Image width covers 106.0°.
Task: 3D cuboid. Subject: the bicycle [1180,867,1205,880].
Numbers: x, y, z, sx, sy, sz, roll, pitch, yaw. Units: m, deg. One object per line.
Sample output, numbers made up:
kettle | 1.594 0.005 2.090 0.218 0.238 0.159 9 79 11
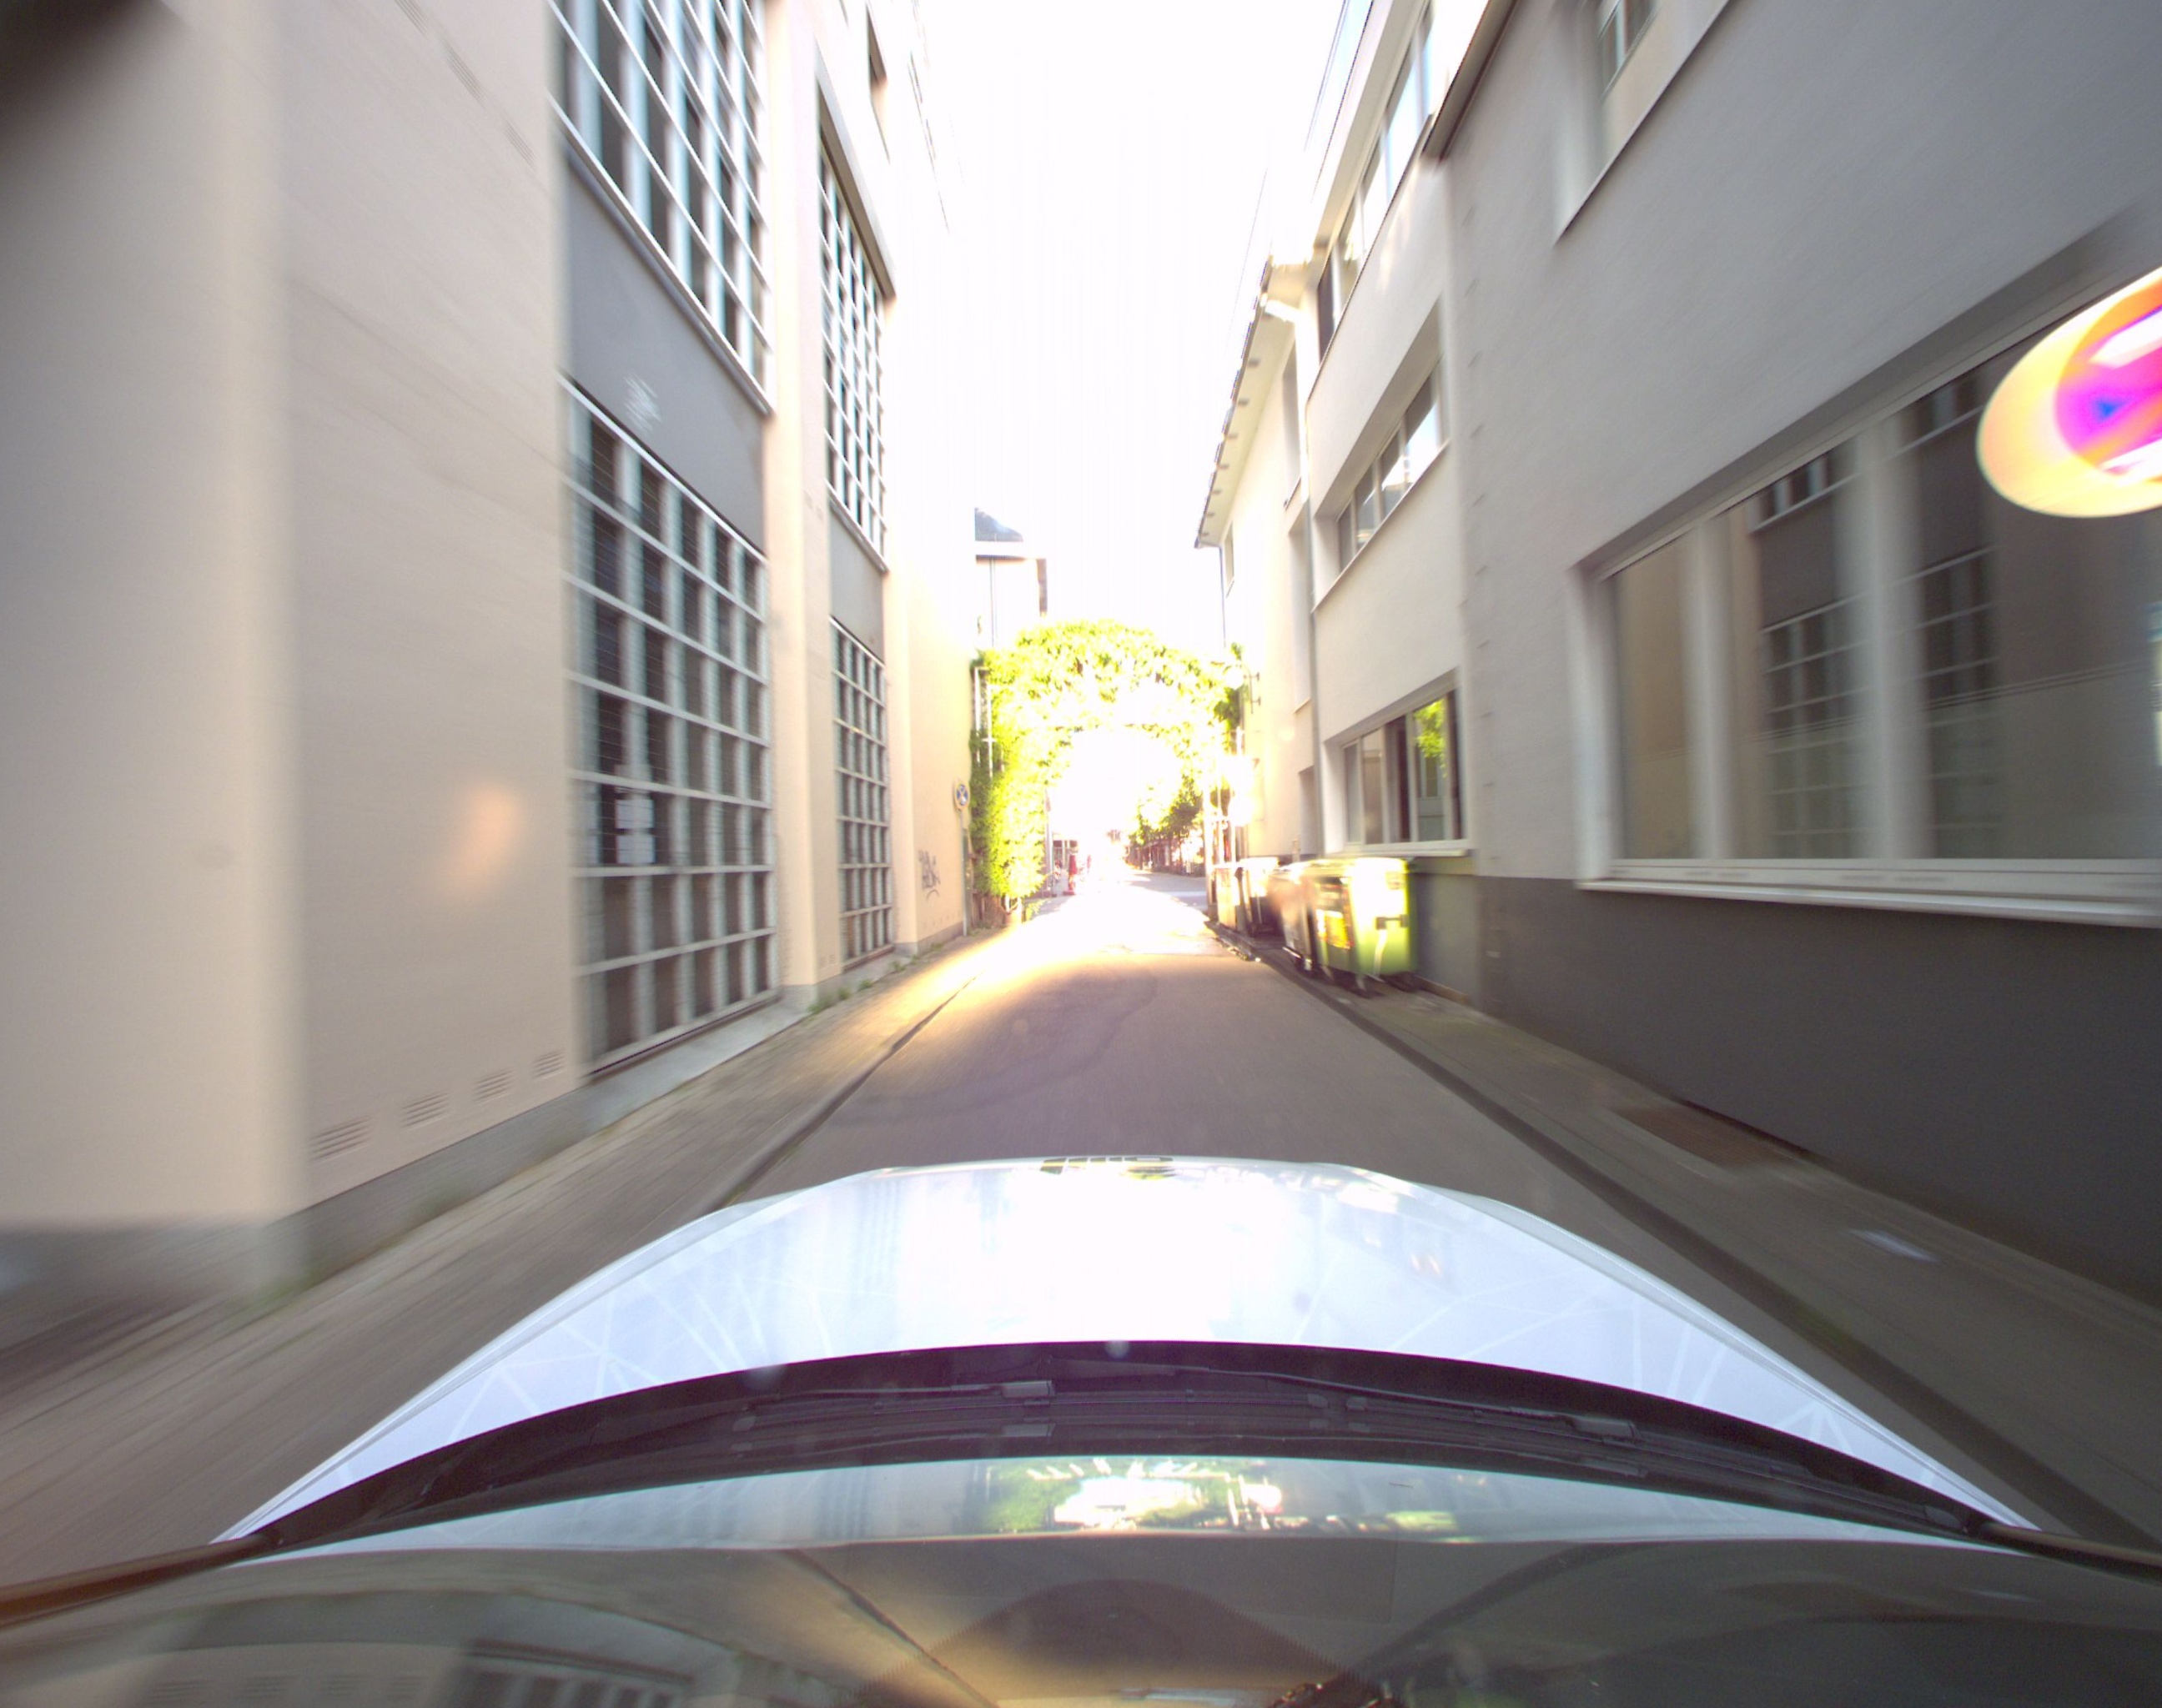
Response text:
bicycle | 10.147 1.747 74.036 2.137 1.061 0.593 -3 -2 14

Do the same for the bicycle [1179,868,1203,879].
bicycle | 10.328 1.835 76.420 2.151 0.926 0.589 -2 -2 -7

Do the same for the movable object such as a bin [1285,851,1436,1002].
movable object such as a bin | 2.832 0.699 8.420 0.935 1.366 1.340 -4 -1 -4

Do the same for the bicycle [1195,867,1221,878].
bicycle | 11.196 1.647 71.953 2.157 0.926 0.587 -2 -2 -15

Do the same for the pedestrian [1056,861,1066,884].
pedestrian | -1.626 1.466 65.142 0.651 1.764 0.635 -3 -1 5

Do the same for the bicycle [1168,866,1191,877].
bicycle | 9.474 1.693 78.299 2.151 0.926 0.589 -2 -2 -7

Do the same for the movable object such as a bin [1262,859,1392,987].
movable object such as a bin | 2.915 0.784 9.823 1.061 1.366 1.342 -4 -1 0

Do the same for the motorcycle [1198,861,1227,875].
motorcycle | 11.488 1.224 71.008 2.481 1.095 0.586 -2 -2 -22

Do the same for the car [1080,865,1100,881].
car | 0.981 2.119 90.352 1.838 1.684 3.639 -2 -1 -4

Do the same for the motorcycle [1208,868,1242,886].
motorcycle | 9.699 1.555 54.753 2.147 1.151 0.493 -3 -2 -3

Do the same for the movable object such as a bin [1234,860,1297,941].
movable object such as a bin | 3.252 0.796 14.469 0.832 1.305 1.292 -4 -1 5

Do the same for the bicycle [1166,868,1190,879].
bicycle | 9.197 1.860 77.391 2.151 0.926 0.589 -2 -2 -7

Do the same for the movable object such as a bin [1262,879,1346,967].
movable object such as a bin | 3.005 0.911 11.047 0.866 1.075 0.738 -4 -1 0
